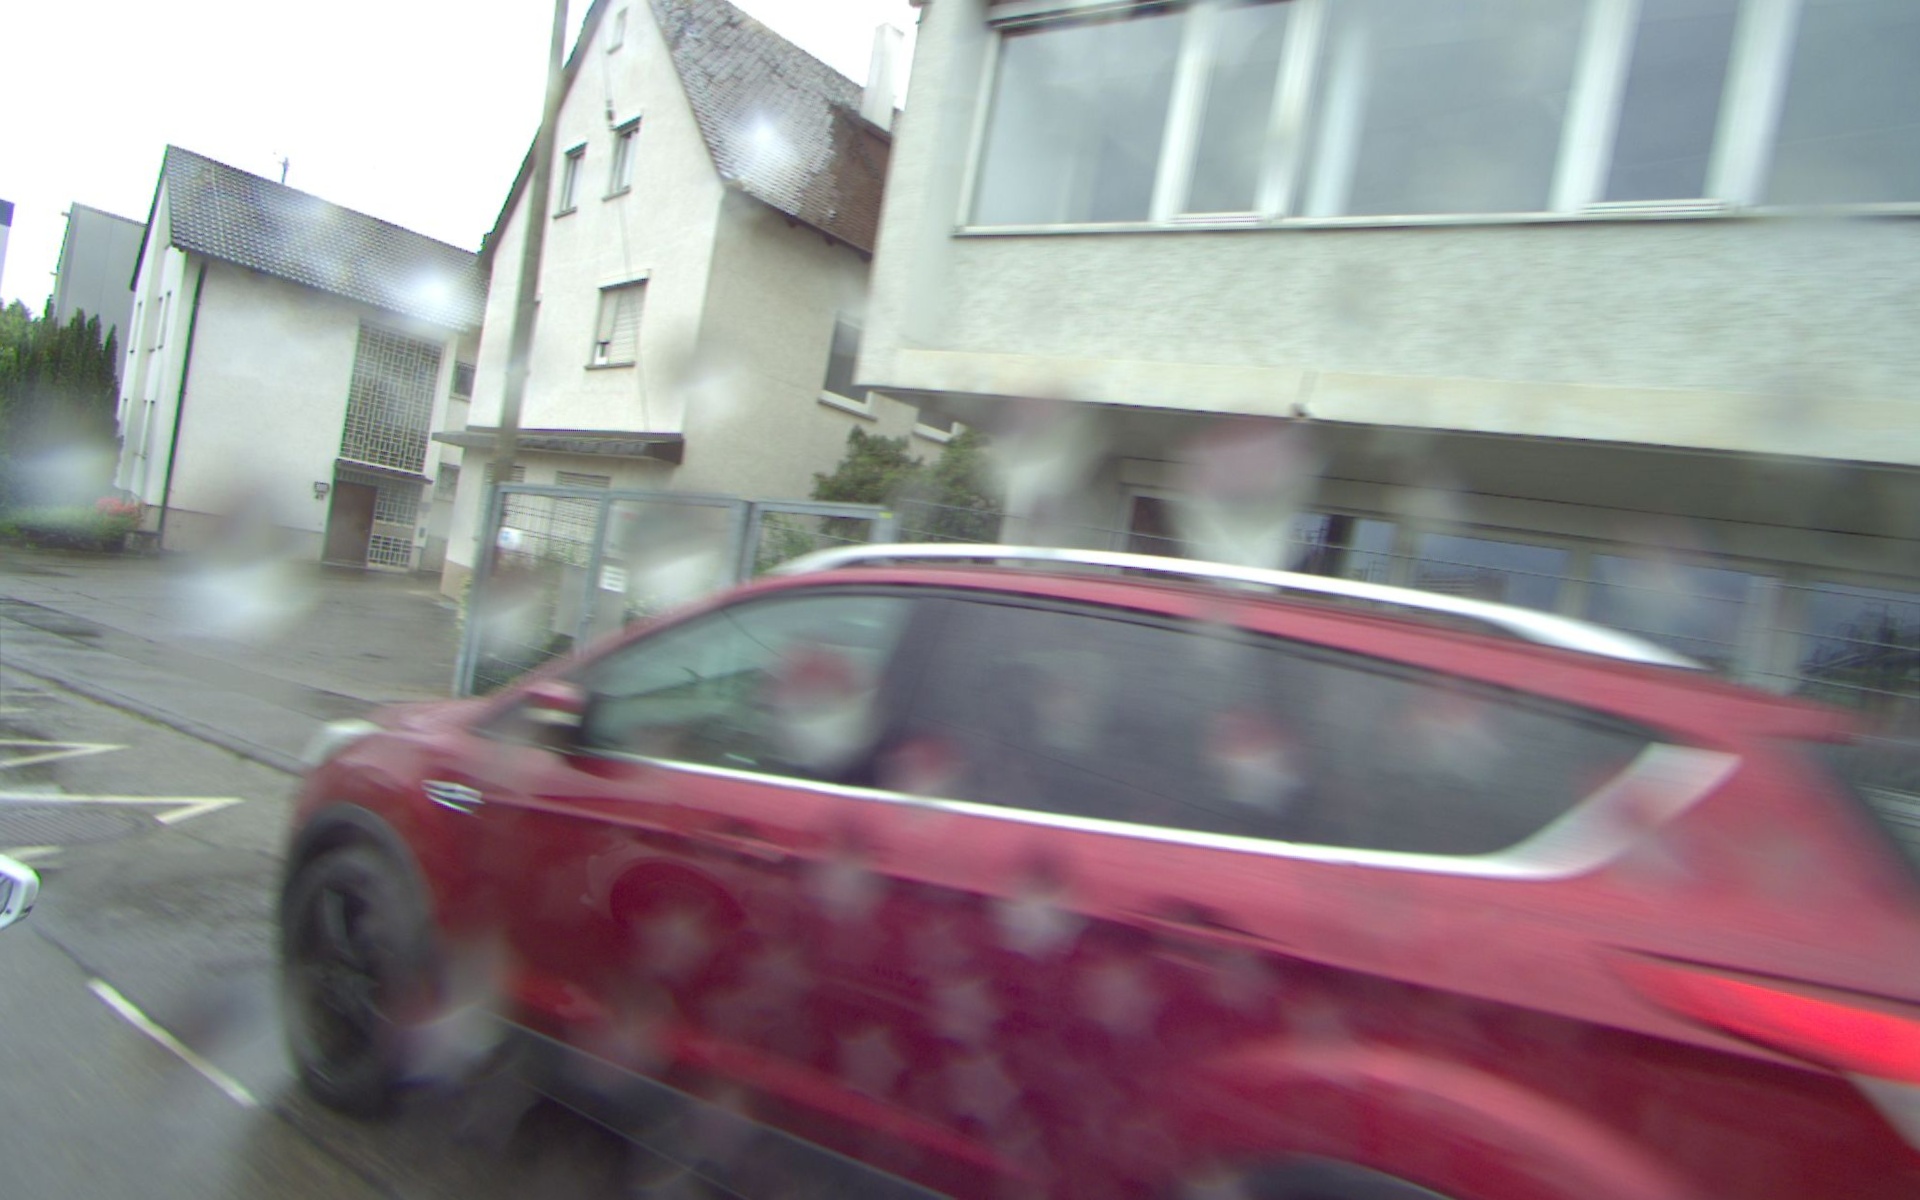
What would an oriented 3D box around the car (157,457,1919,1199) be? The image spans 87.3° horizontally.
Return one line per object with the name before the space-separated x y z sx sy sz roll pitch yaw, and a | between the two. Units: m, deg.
car | 0.041 0.704 2.853 4.876 1.664 1.997 7 -1 32
